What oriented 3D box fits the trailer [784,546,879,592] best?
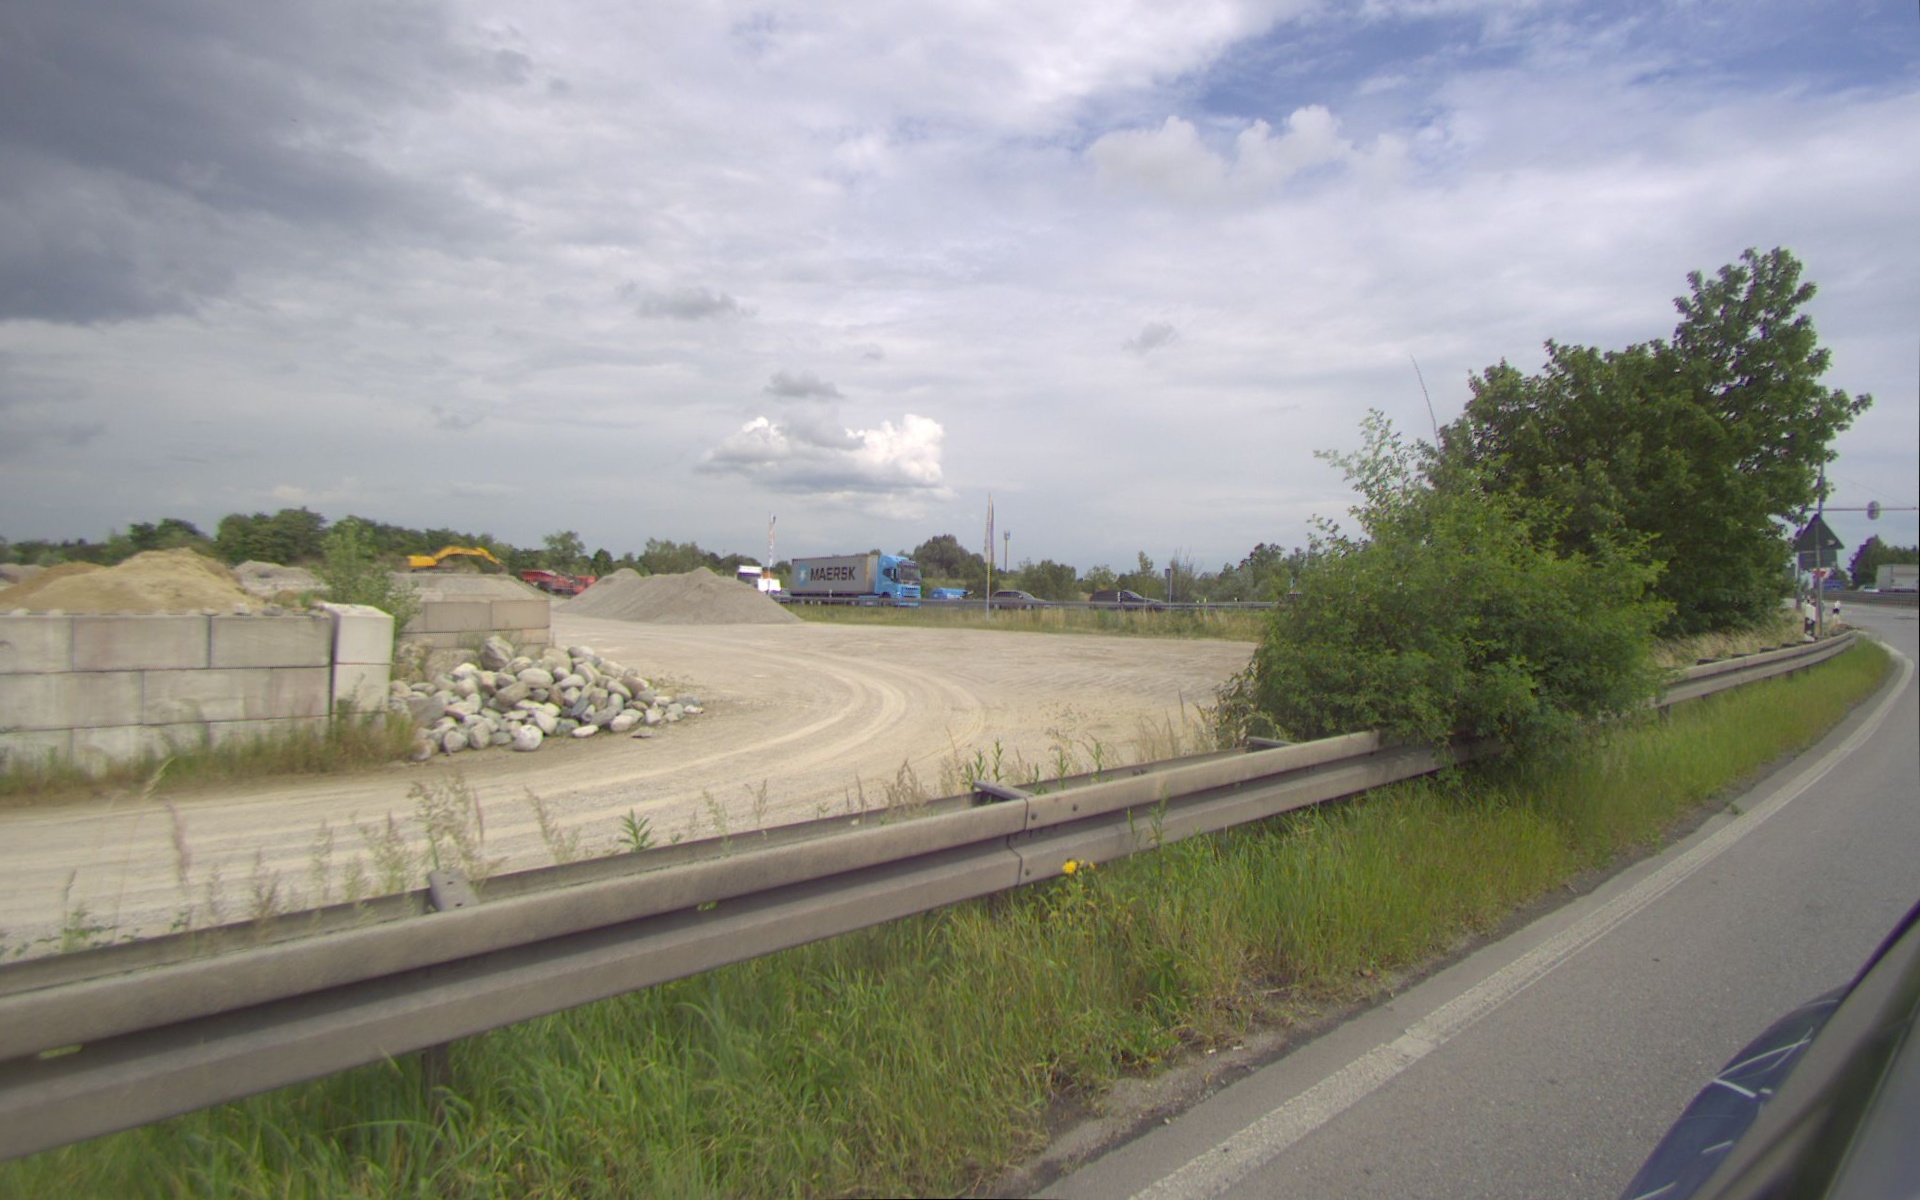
[{"bbox_3d":[-10.509,-2.368,81.448,2.347,3.352,11.225,1,-1,-37],"label":"trailer"}]

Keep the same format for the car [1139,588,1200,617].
[{"bbox_3d":[15.370,0.167,74.393,3.977,2.039,1.905,0,-1,37],"label":"car"}]

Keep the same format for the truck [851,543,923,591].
[{"bbox_3d":[-5.509,-2.399,75.412,2.352,3.347,5.581,1,-1,-44],"label":"truck"}]

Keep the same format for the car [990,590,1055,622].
[{"bbox_3d":[4.224,0.386,68.135,3.978,2.039,1.905,2,0,37],"label":"car"}]

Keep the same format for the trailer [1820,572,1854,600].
[{"bbox_3d":[151.667,-2.444,175.117,3.117,4.691,8.721,-1,-1,33],"label":"trailer"}]

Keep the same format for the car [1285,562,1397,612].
[{"bbox_3d":[20.971,-0.741,55.788,5.380,2.599,2.430,2,0,33],"label":"car"}]

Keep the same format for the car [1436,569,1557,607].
[{"bbox_3d":[30.611,-0.675,57.837,5.864,2.039,2.033,0,-1,38],"label":"car"}]

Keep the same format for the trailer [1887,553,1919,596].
[{"bbox_3d":[106.487,-2.818,112.759,3.476,4.571,10.802,0,0,36],"label":"trailer"}]
